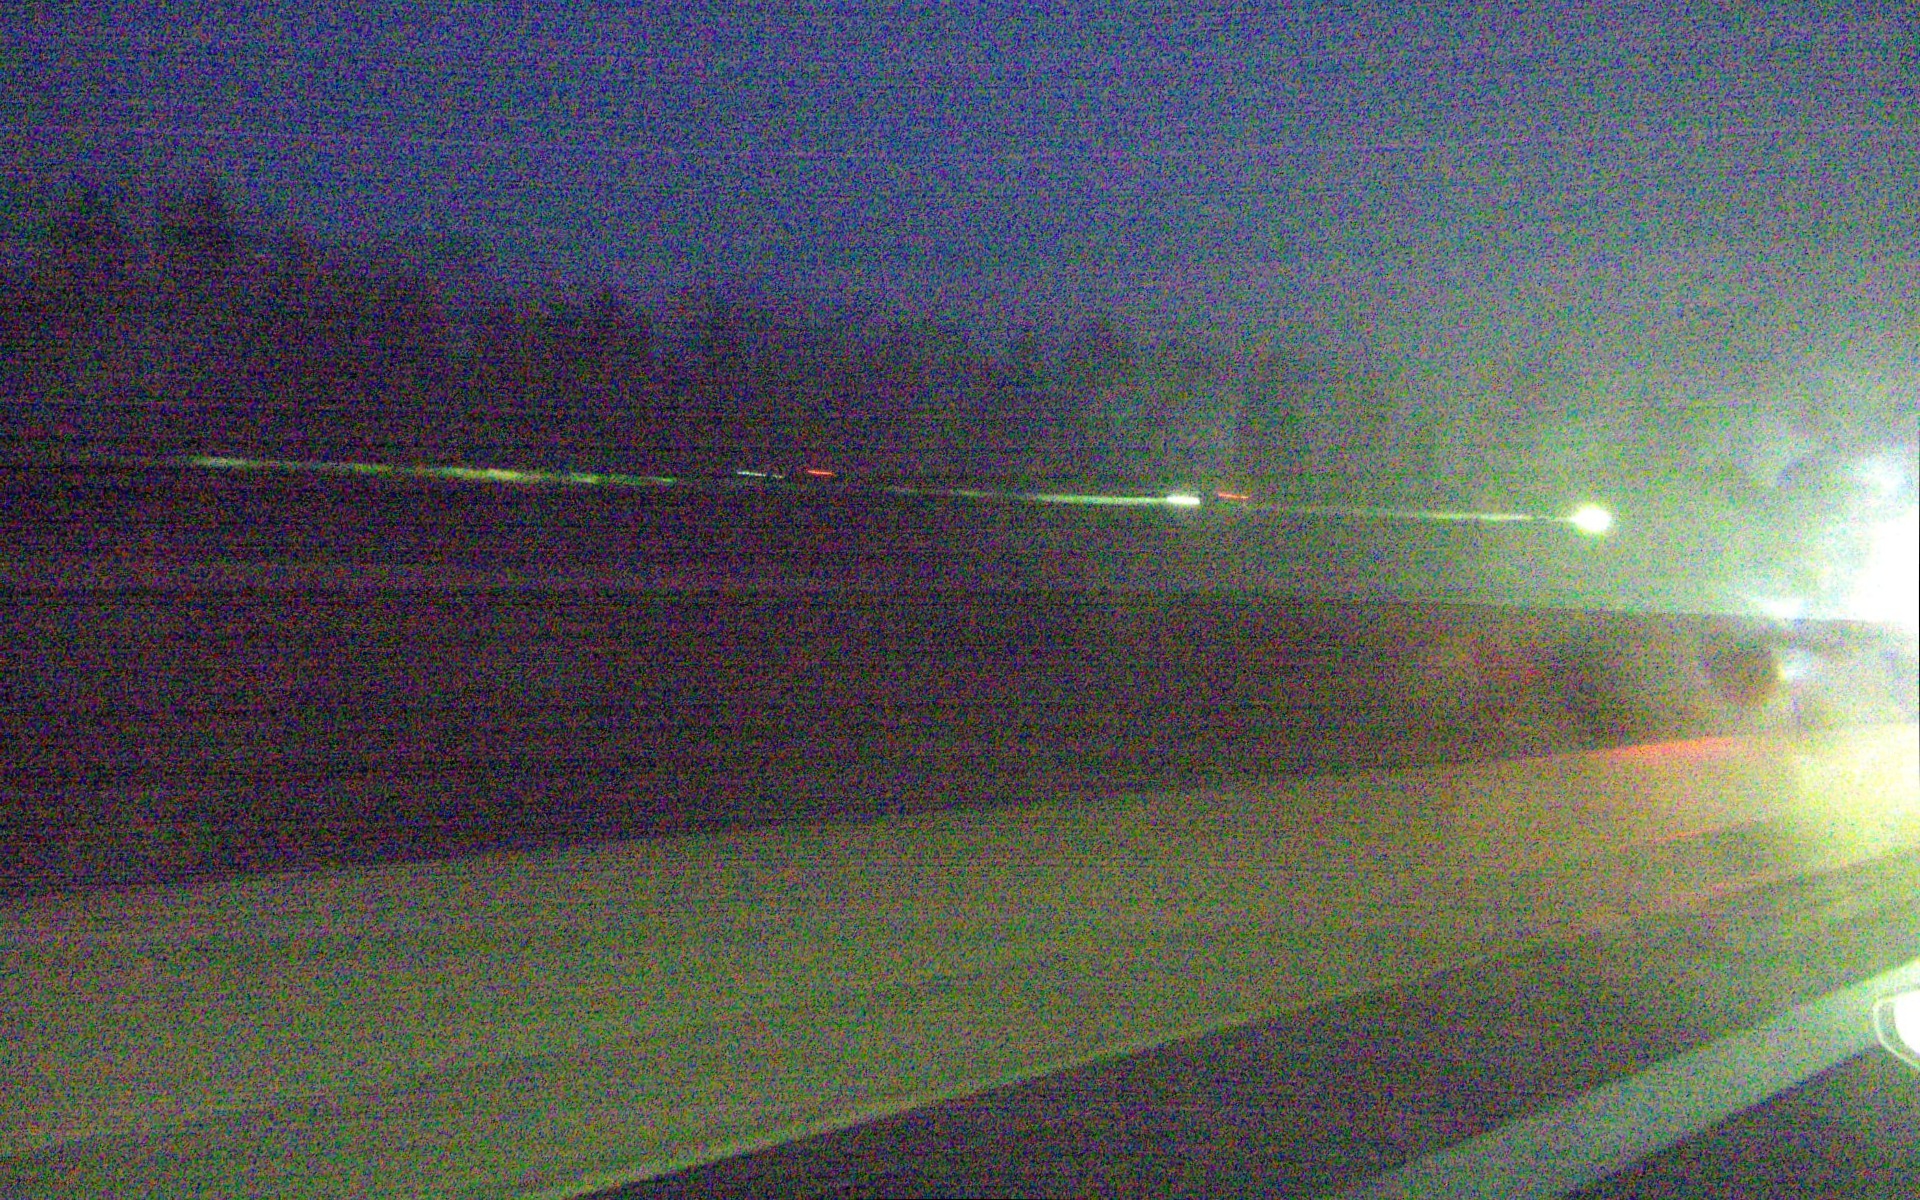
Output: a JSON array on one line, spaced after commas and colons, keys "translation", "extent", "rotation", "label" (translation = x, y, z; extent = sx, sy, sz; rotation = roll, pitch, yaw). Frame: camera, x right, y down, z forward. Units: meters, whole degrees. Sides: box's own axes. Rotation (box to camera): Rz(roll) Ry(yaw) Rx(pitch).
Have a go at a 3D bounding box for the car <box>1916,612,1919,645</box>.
[{"translation": [51.817, 1.565, 52.297], "extent": [3.956, 1.707, 1.982], "rotation": [0, 4, -32], "label": "car"}]
